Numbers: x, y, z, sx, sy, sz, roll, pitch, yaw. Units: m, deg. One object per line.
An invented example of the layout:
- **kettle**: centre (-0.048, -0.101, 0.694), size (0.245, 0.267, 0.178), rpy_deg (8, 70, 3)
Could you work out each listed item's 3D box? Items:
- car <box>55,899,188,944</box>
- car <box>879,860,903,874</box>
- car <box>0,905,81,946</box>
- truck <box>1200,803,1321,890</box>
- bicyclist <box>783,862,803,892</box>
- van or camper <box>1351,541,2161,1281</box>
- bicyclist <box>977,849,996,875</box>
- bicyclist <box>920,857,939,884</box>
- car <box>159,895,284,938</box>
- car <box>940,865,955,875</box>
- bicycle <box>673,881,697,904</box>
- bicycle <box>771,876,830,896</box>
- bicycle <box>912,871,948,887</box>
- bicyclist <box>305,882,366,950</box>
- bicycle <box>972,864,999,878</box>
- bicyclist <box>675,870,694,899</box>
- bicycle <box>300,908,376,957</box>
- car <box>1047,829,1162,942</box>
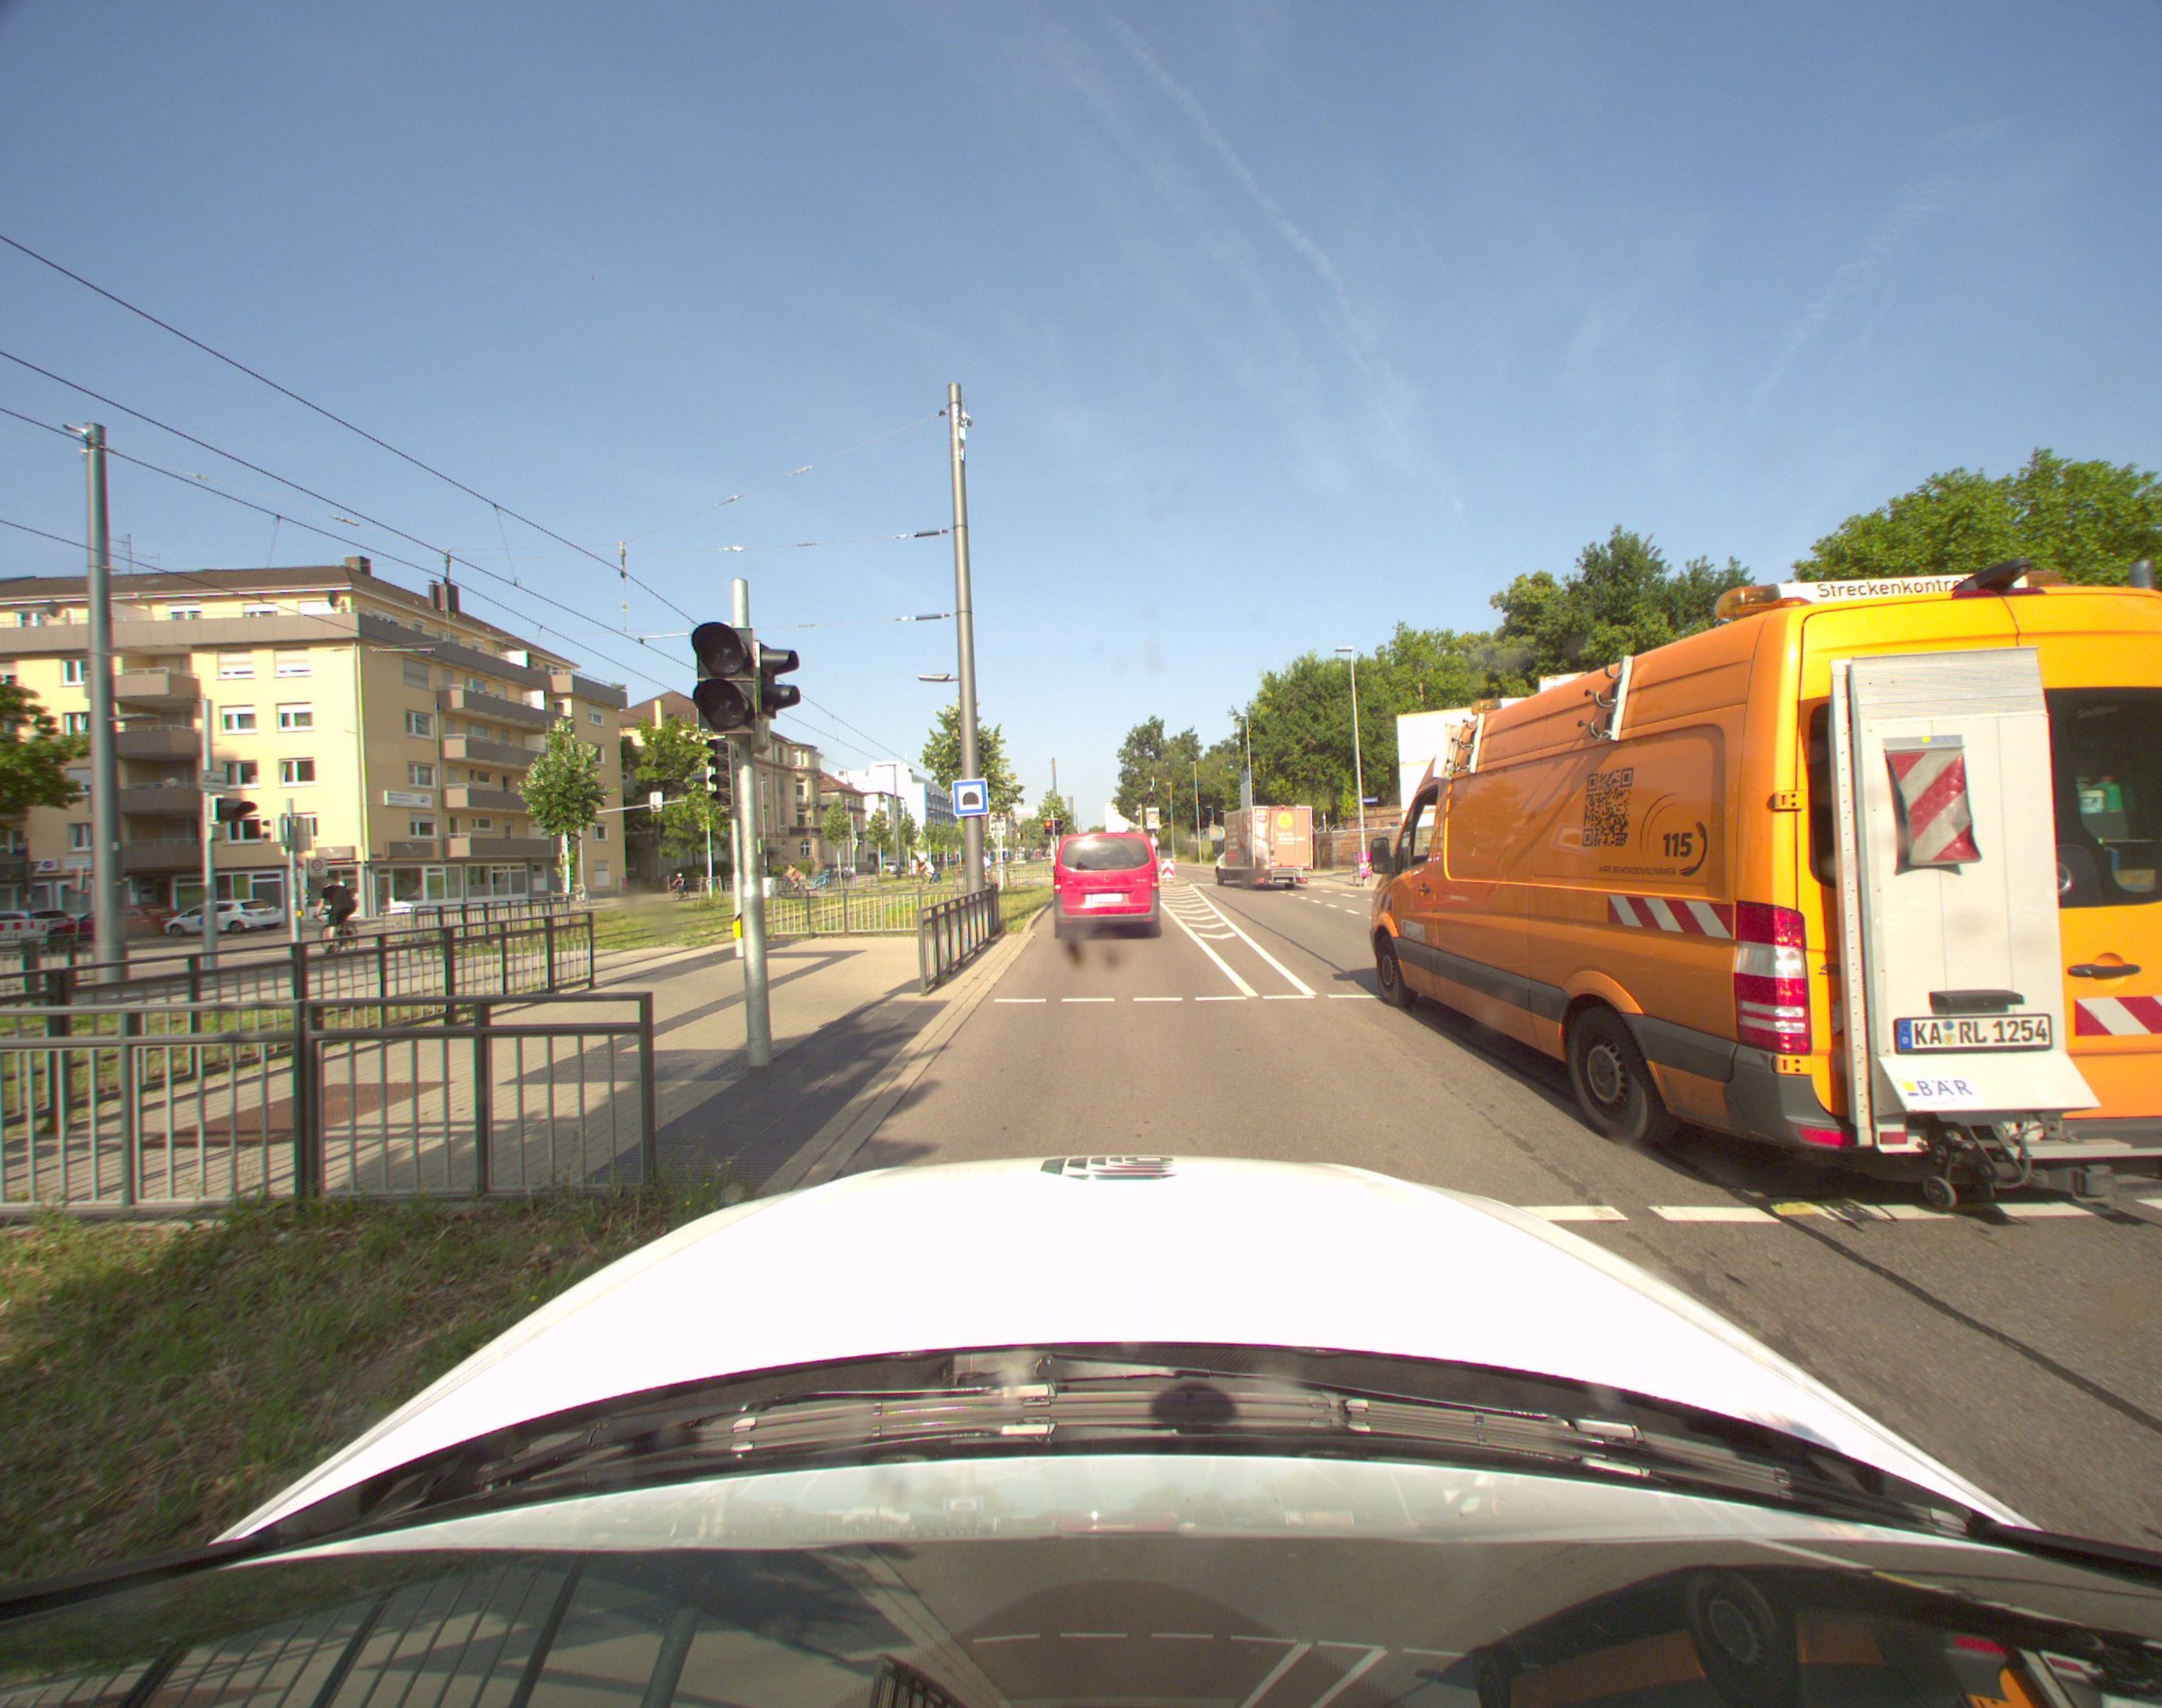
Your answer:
- **car**: centre (-43.489, 3.042, 36.974), size (3.777, 1.688, 1.773), rpy_deg (-3, 0, -2)
- **car**: centre (-28.166, 1.949, 120.920), size (2.242, 2.014, 5.261), rpy_deg (0, -2, -1)
- **car**: centre (-48.444, 3.277, 36.859), size (3.930, 1.604, 1.814), rpy_deg (-3, 0, -3)
- **truck**: centre (6.916, -0.233, 32.625), size (2.498, 3.061, 7.806), rpy_deg (0, -1, -5)
- **bicyclist**: centre (-15.845, 1.262, 44.813), size (0.892, 1.628, 0.887), rpy_deg (-2, 0, -18)
- **van or camper**: centre (3.722, 0.174, 5.751), size (1.977, 2.472, 6.068), rpy_deg (-1, 0, 4)
- **bicyclist**: centre (-5.367, 0.446, 46.215), size (0.679, 1.440, 0.811), rpy_deg (-1, -1, 30)
- **bicyclist**: centre (-8.838, 0.955, 47.473), size (0.982, 1.500, 0.619), rpy_deg (-3, 0, -6)
- **car**: centre (-38.955, 2.819, 36.961), size (3.614, 1.583, 1.708), rpy_deg (-3, 2, -3)
- **car**: centre (-24.476, 2.918, 149.384), size (1.910, 1.813, 4.001), rpy_deg (0, -1, 2)
- **bicycle**: centre (-25.167, 2.437, 51.795), size (0.693, 1.346, 1.755), rpy_deg (-2, 0, -4)
- **bicycle**: centre (-15.470, 1.759, 44.949), size (2.997, 0.965, 0.894), rpy_deg (-2, 0, -20)
- **bicycle**: centre (-8.786, 1.439, 47.473), size (1.993, 0.793, 0.628), rpy_deg (-3, 0, -6)
- **bicyclist**: centre (-16.749, 1.392, 18.300), size (0.962, 1.395, 0.549), rpy_deg (-5, 1, 22)
- **bicycle**: centre (-5.410, 0.947, 46.111), size (0.711, 0.798, 1.613), rpy_deg (-1, -1, 29)
- **bicyclist**: centre (-25.185, 1.928, 51.743), size (0.668, 1.805, 1.082), rpy_deg (-2, 0, -4)
- **bicycle**: centre (-16.703, 1.765, 18.305), size (1.593, 0.935, 0.560), rpy_deg (-5, 1, 21)
- **car**: centre (0.526, 0.529, 15.574), size (1.892, 1.859, 4.004), rpy_deg (-1, 0, 4)
